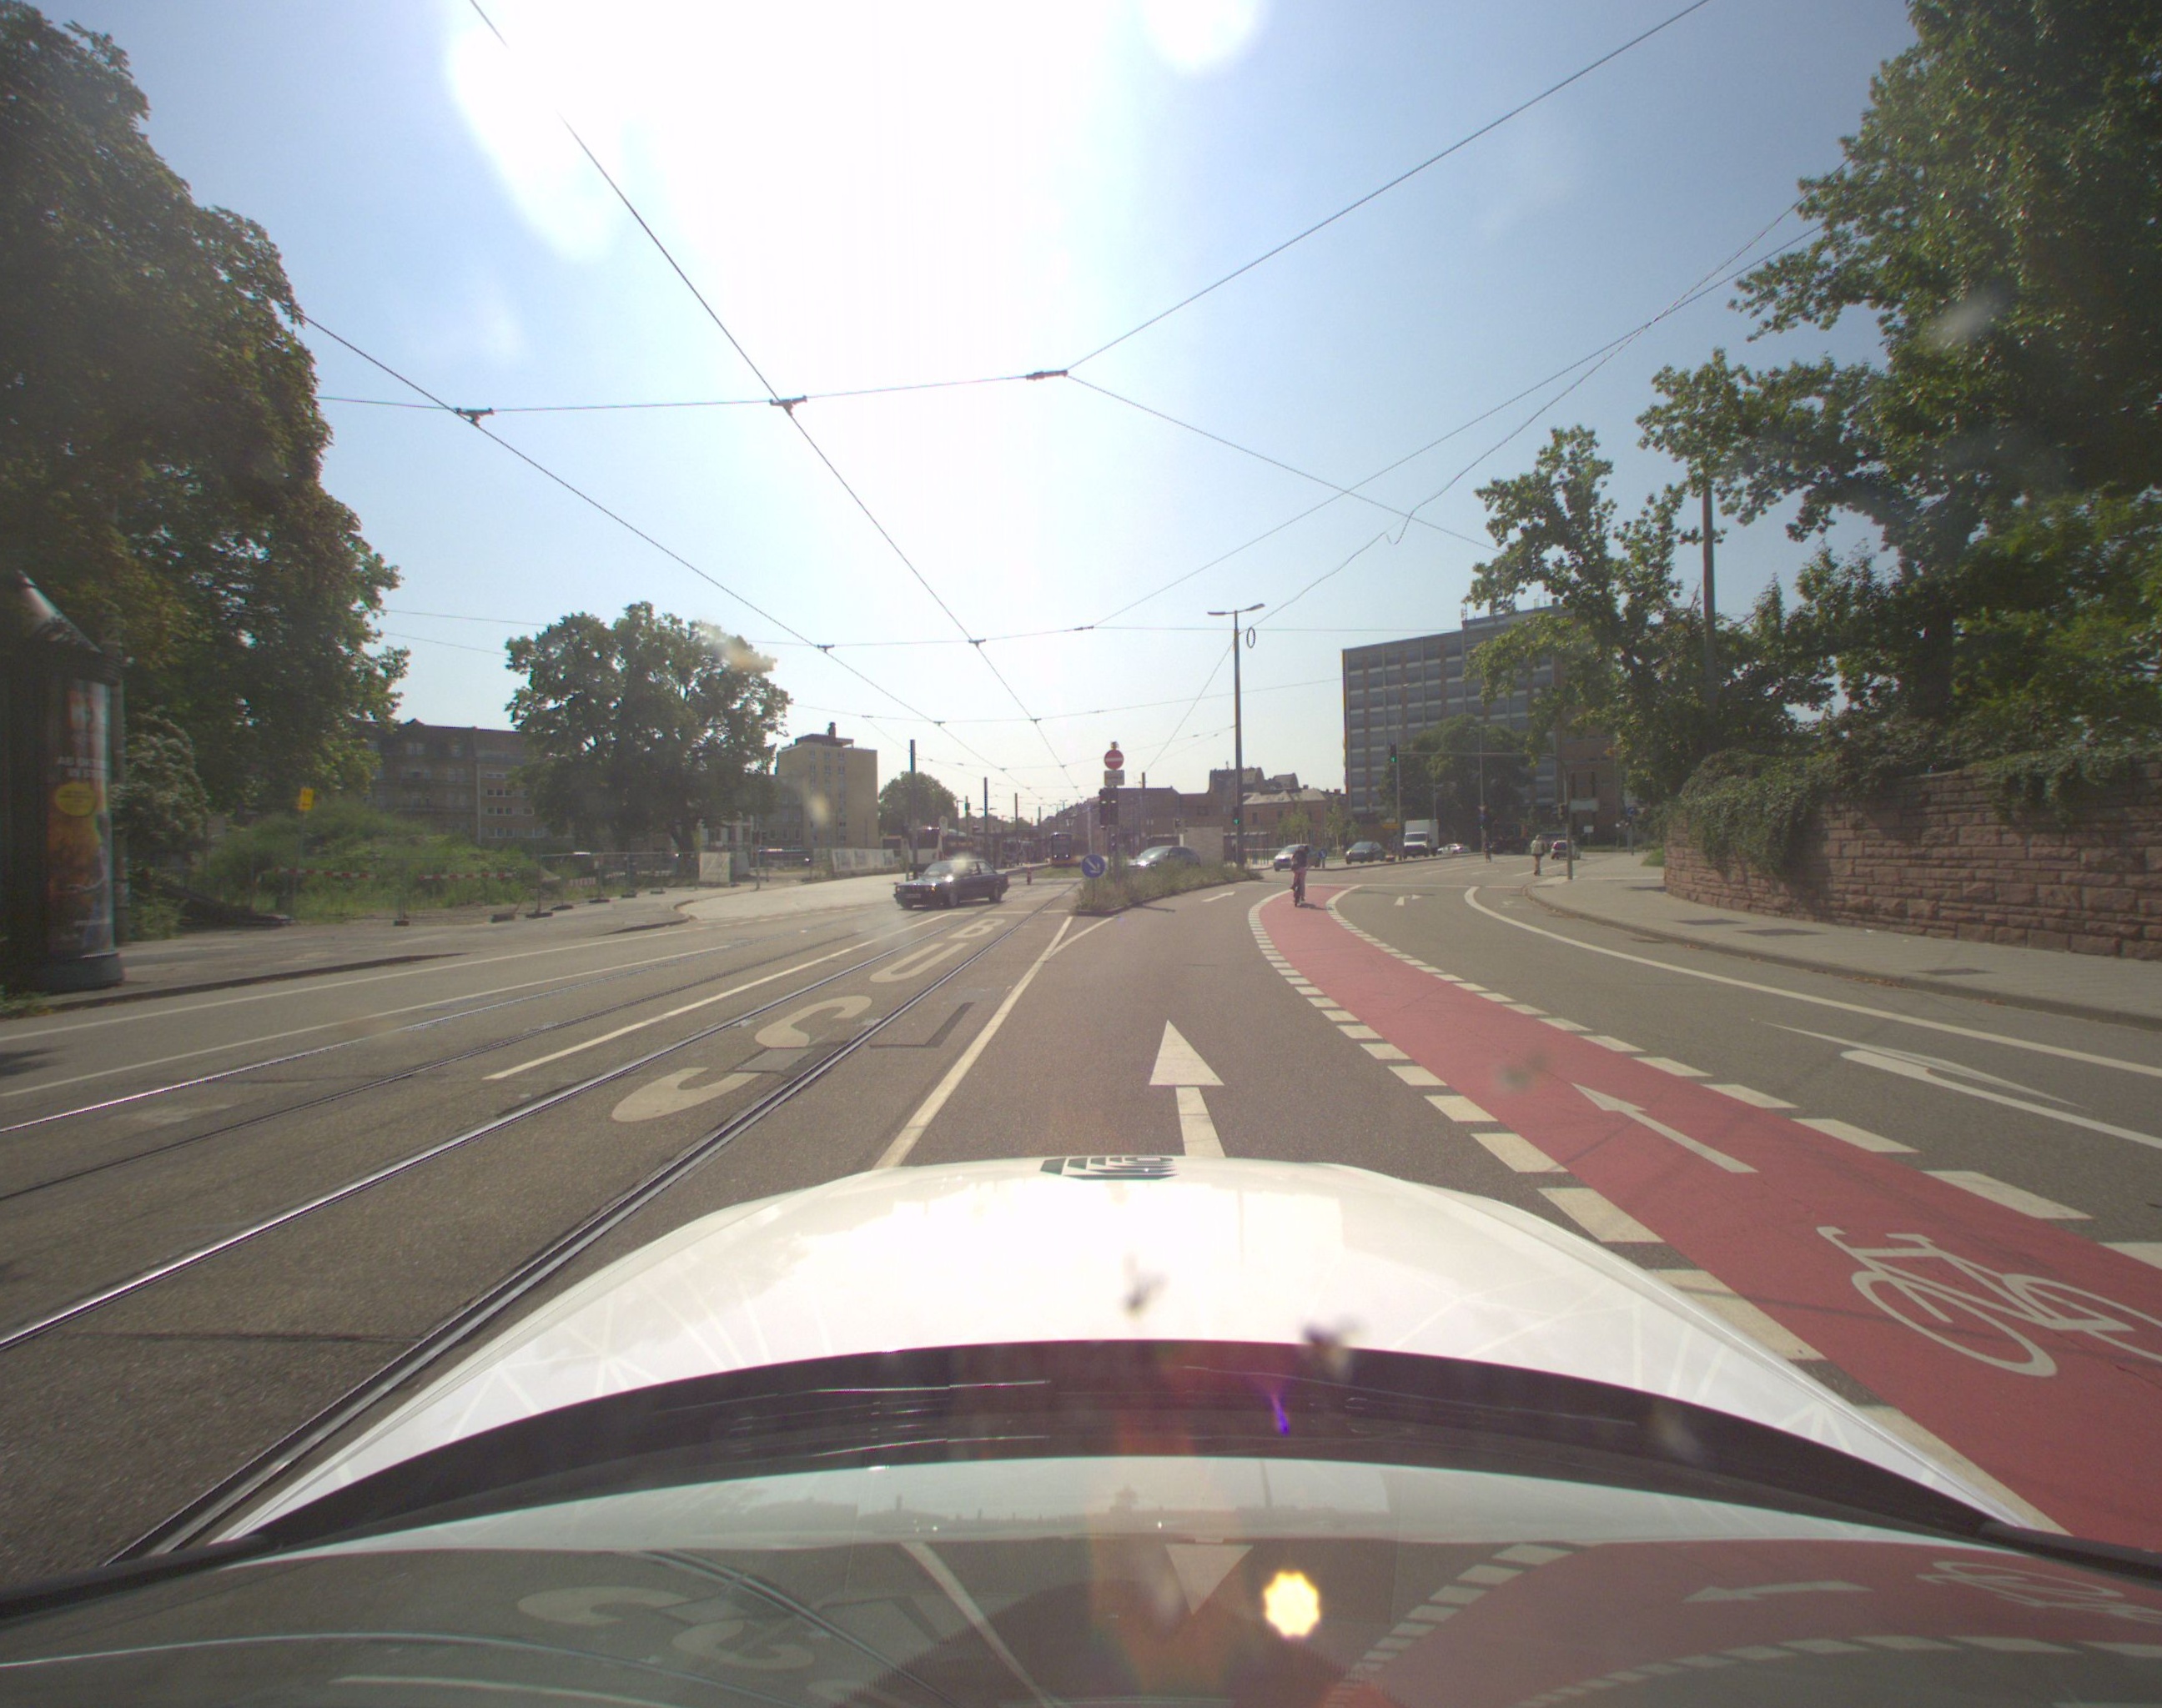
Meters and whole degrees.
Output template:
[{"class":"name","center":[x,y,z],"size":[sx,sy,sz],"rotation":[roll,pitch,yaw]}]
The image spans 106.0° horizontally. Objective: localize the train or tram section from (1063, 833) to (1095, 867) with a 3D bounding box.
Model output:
[{"class":"train or tram section","center":[-0.109,-0.463,105.315],"size":[2.874,4.068,19.159],"rotation":[-1,0,4]}]

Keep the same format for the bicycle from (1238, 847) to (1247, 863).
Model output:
[{"class":"bicycle","center":[12.884,0.092,64.792],"size":[0.599,1.210,1.817],"rotation":[-1,0,14]}]

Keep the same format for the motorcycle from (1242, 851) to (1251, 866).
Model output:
[{"class":"motorcycle","center":[14.262,0.377,70.258],"size":[0.599,1.210,2.262],"rotation":[-1,0,14]}]

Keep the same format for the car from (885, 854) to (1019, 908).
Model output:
[{"class":"car","center":[-3.693,0.744,24.263],"size":[1.672,1.378,4.644],"rotation":[-2,0,24]}]

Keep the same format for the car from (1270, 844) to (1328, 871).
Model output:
[{"class":"car","center":[13.033,0.196,48.600],"size":[1.634,1.530,4.353],"rotation":[-2,0,40]}]

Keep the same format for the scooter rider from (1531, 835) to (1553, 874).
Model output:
[{"class":"scooter rider","center":[21.732,0.027,38.364],"size":[0.754,1.775,0.558],"rotation":[-2,0,41]}]

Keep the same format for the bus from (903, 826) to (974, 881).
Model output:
[{"class":"bus","center":[-10.489,-0.035,61.090],"size":[2.946,3.775,10.603],"rotation":[-1,0,3]}]

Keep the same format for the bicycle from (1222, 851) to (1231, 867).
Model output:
[{"class":"bicycle","center":[11.603,0.382,64.900],"size":[0.599,1.210,1.817],"rotation":[-1,0,14]}]

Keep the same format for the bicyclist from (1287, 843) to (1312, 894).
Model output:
[{"class":"bicyclist","center":[5.858,0.373,21.831],"size":[0.598,1.335,0.662],"rotation":[-1,0,16]}]

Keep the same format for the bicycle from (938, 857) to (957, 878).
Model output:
[{"class":"bicycle","center":[-7.791,0.775,47.609],"size":[0.604,1.222,1.708],"rotation":[-1,0,7]}]

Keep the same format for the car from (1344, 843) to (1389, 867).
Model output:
[{"class":"car","center":[20.158,0.058,57.454],"size":[1.680,1.530,4.210],"rotation":[-2,0,38]}]

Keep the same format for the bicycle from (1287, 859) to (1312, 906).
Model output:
[{"class":"bicycle","center":[5.913,0.749,21.984],"size":[0.599,1.163,1.818],"rotation":[-1,0,16]}]

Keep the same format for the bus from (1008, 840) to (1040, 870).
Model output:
[{"class":"bus","center":[-7.384,0.079,106.711],"size":[2.697,3.727,10.432],"rotation":[-1,0,5]}]

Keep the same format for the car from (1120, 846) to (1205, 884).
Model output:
[{"class":"car","center":[3.766,0.469,37.064],"size":[1.754,1.610,4.703],"rotation":[-2,0,35]}]

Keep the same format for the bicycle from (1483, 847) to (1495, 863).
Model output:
[{"class":"bicycle","center":[28.152,0.060,56.157],"size":[0.440,1.116,1.455],"rotation":[-2,0,36]}]

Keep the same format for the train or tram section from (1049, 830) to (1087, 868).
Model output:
[{"class":"train or tram section","center":[-1.141,-0.456,86.804],"size":[2.845,3.548,17.755],"rotation":[-1,0,3]}]

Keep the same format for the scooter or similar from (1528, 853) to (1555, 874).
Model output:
[{"class":"scooter or similar","center":[21.655,0.445,38.284],"size":[0.765,0.926,1.630],"rotation":[-1,0,42]}]

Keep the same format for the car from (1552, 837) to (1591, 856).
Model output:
[{"class":"car","center":[37.284,-0.581,61.873],"size":[1.825,1.391,4.025],"rotation":[-2,0,41]}]

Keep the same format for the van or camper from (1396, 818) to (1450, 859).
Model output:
[{"class":"van or camper","center":[29.552,-1.293,70.235],"size":[2.376,3.306,7.236],"rotation":[-2,0,38]}]

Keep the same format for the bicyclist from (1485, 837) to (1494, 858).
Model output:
[{"class":"bicyclist","center":[28.230,-0.434,56.280],"size":[0.445,1.421,0.499],"rotation":[-2,-1,37]}]

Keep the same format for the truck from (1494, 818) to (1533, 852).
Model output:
[{"class":"truck","center":[40.713,-1.713,76.583],"size":[2.670,2.989,6.004],"rotation":[-1,0,32]}]

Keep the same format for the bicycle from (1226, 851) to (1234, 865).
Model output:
[{"class":"bicycle","center":[13.144,0.384,71.809],"size":[0.599,1.210,1.817],"rotation":[-1,0,14]}]
